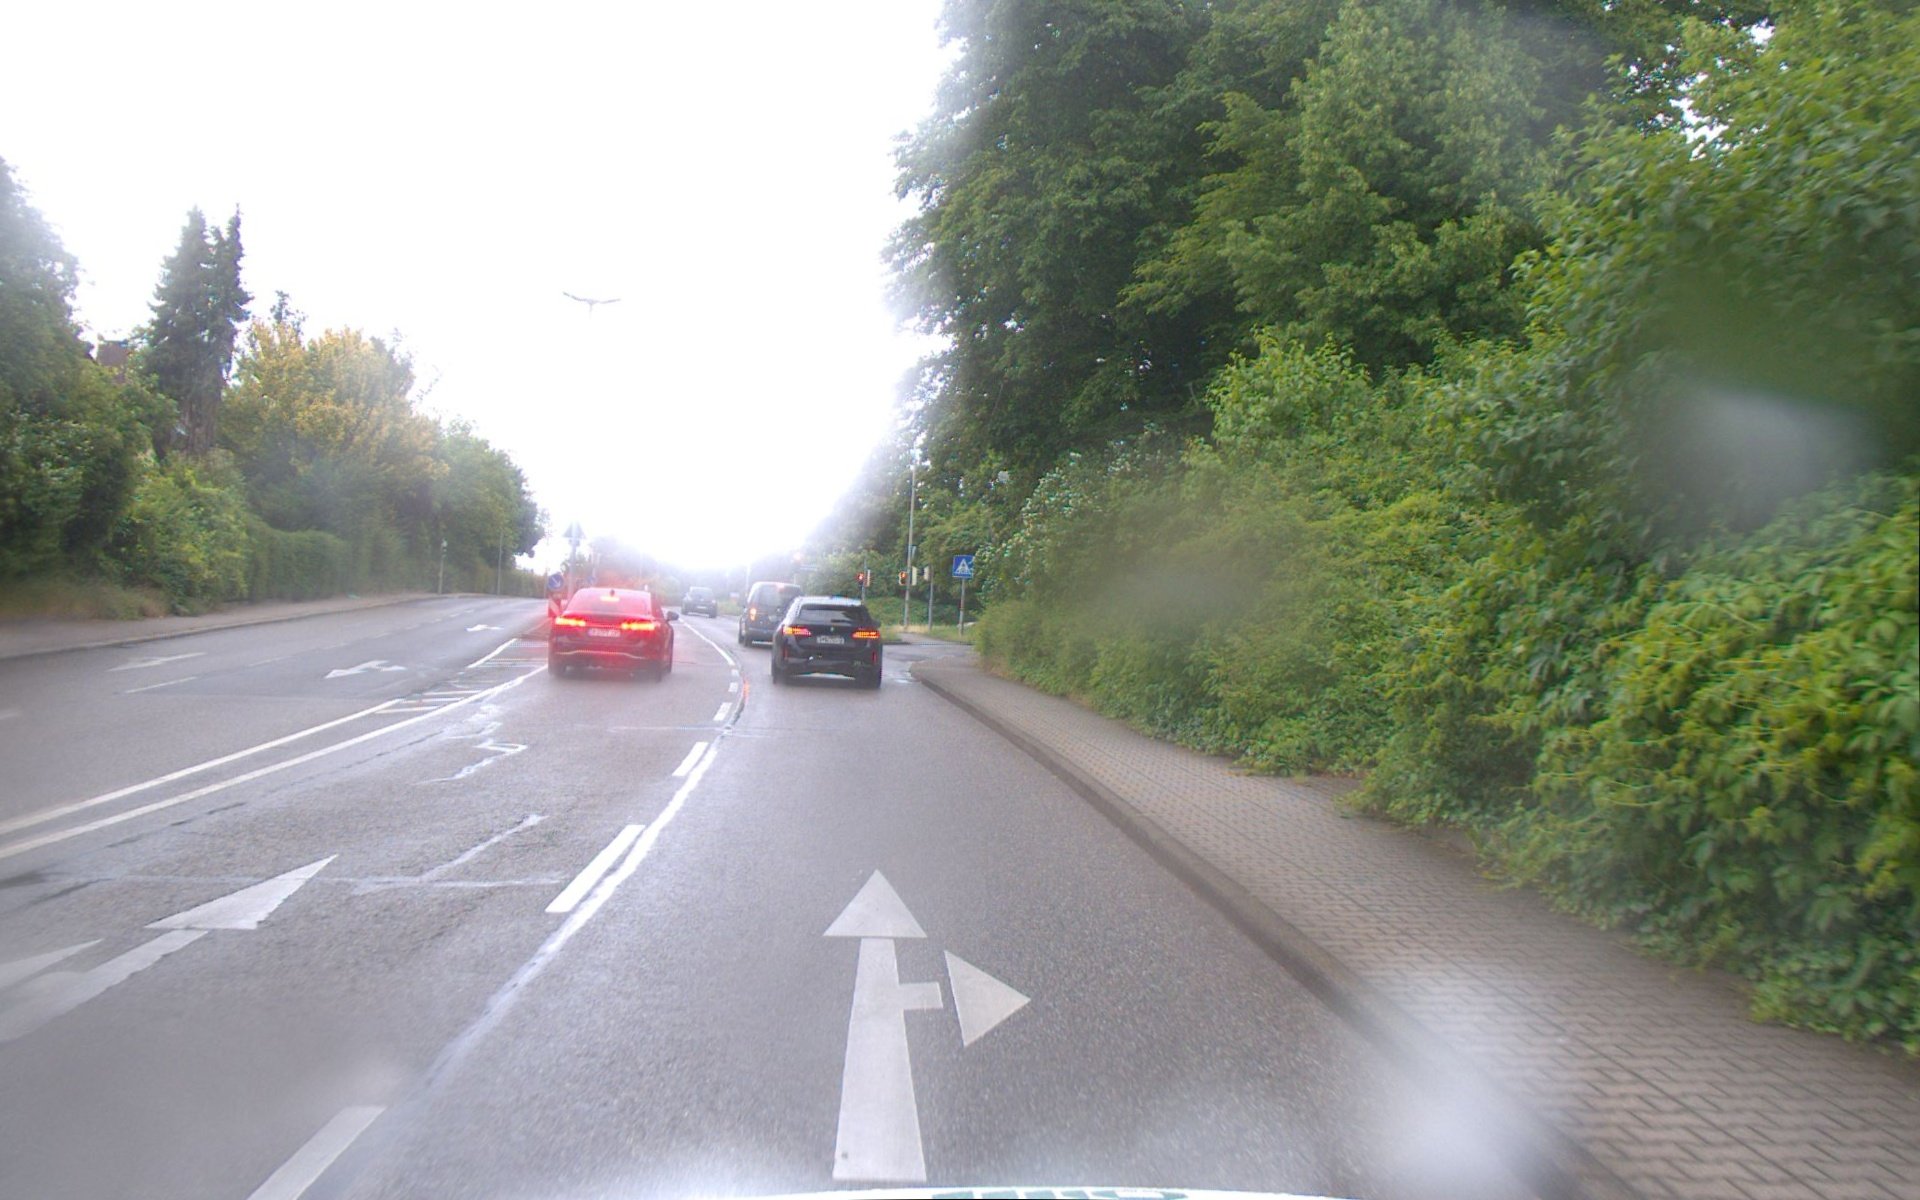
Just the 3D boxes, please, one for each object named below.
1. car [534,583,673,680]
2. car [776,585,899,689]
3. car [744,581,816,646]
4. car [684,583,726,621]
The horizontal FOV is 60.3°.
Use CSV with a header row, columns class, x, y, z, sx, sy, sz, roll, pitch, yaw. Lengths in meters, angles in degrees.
class,x,y,z,sx,sy,sz,roll,pitch,yaw
car,-5.978,0.476,28.204,1.870,1.422,4.849,3,0,-8
car,-2.227,0.584,29.429,1.955,1.614,4.658,2,0,-6
car,-5.238,0.391,47.688,1.956,1.779,3.993,1,-1,-8
car,-13.194,0.112,85.308,1.819,1.691,3.986,3,-4,-12
